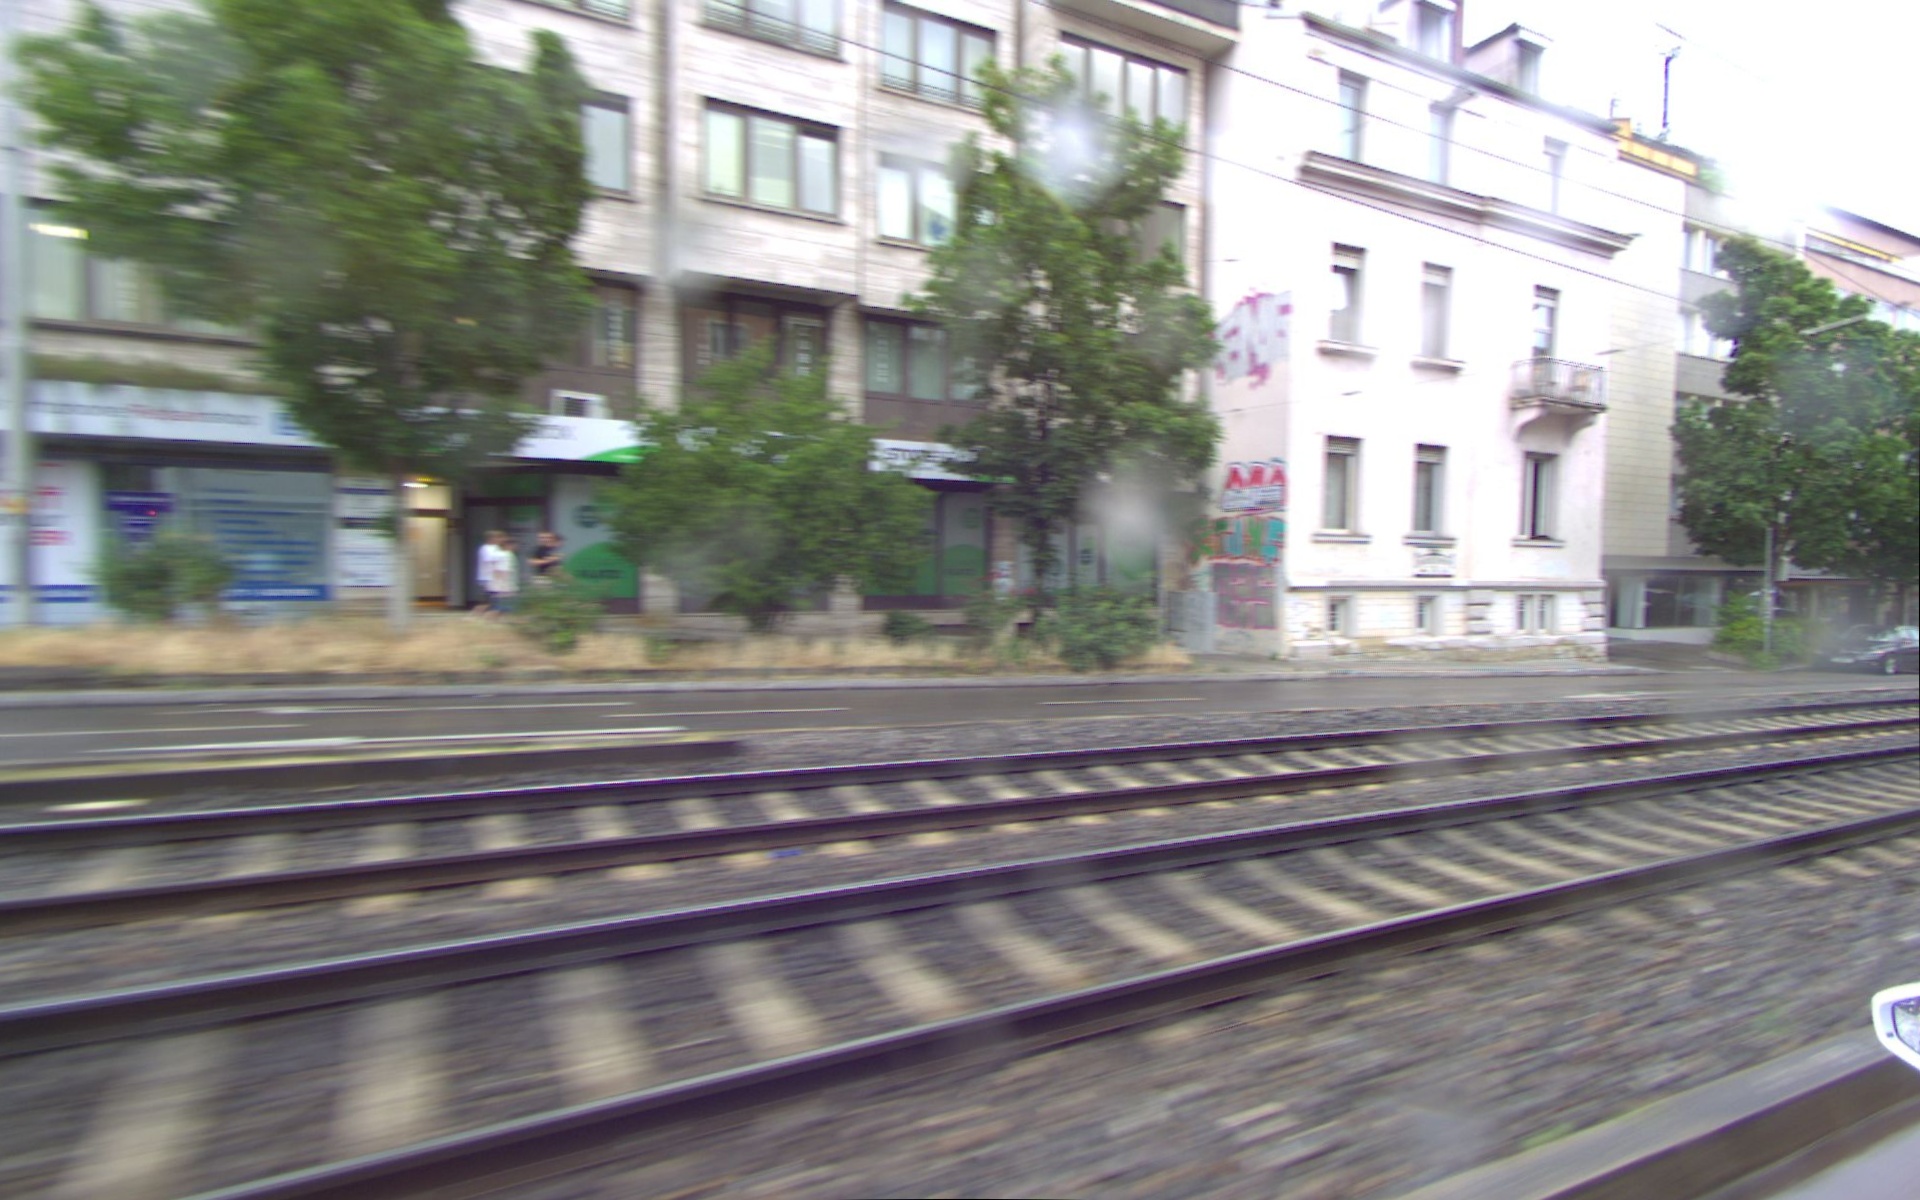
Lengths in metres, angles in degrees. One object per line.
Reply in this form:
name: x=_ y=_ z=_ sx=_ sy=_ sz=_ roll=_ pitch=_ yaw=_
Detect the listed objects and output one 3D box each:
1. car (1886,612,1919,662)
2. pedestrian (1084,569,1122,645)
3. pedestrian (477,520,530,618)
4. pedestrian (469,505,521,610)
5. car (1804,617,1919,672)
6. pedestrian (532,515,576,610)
car: x=33.109 y=1.353 z=33.401 sx=4.661 sy=1.569 sz=1.848 roll=4 pitch=1 yaw=-28
pedestrian: x=3.220 y=0.161 z=22.628 sx=0.577 sy=1.674 sz=0.464 roll=3 pitch=3 yaw=-39
pedestrian: x=-7.628 y=-0.518 z=16.790 sx=0.676 sy=1.569 sz=0.644 roll=3 pitch=3 yaw=-29
pedestrian: x=-8.065 y=-0.744 z=17.420 sx=0.676 sy=1.747 sz=0.644 roll=3 pitch=3 yaw=-29
car: x=27.812 y=1.377 z=30.457 sx=4.662 sy=1.396 sz=1.687 roll=4 pitch=1 yaw=-28
pedestrian: x=-7.233 y=-0.672 z=17.881 sx=0.579 sy=1.619 sz=0.501 roll=3 pitch=3 yaw=-29
